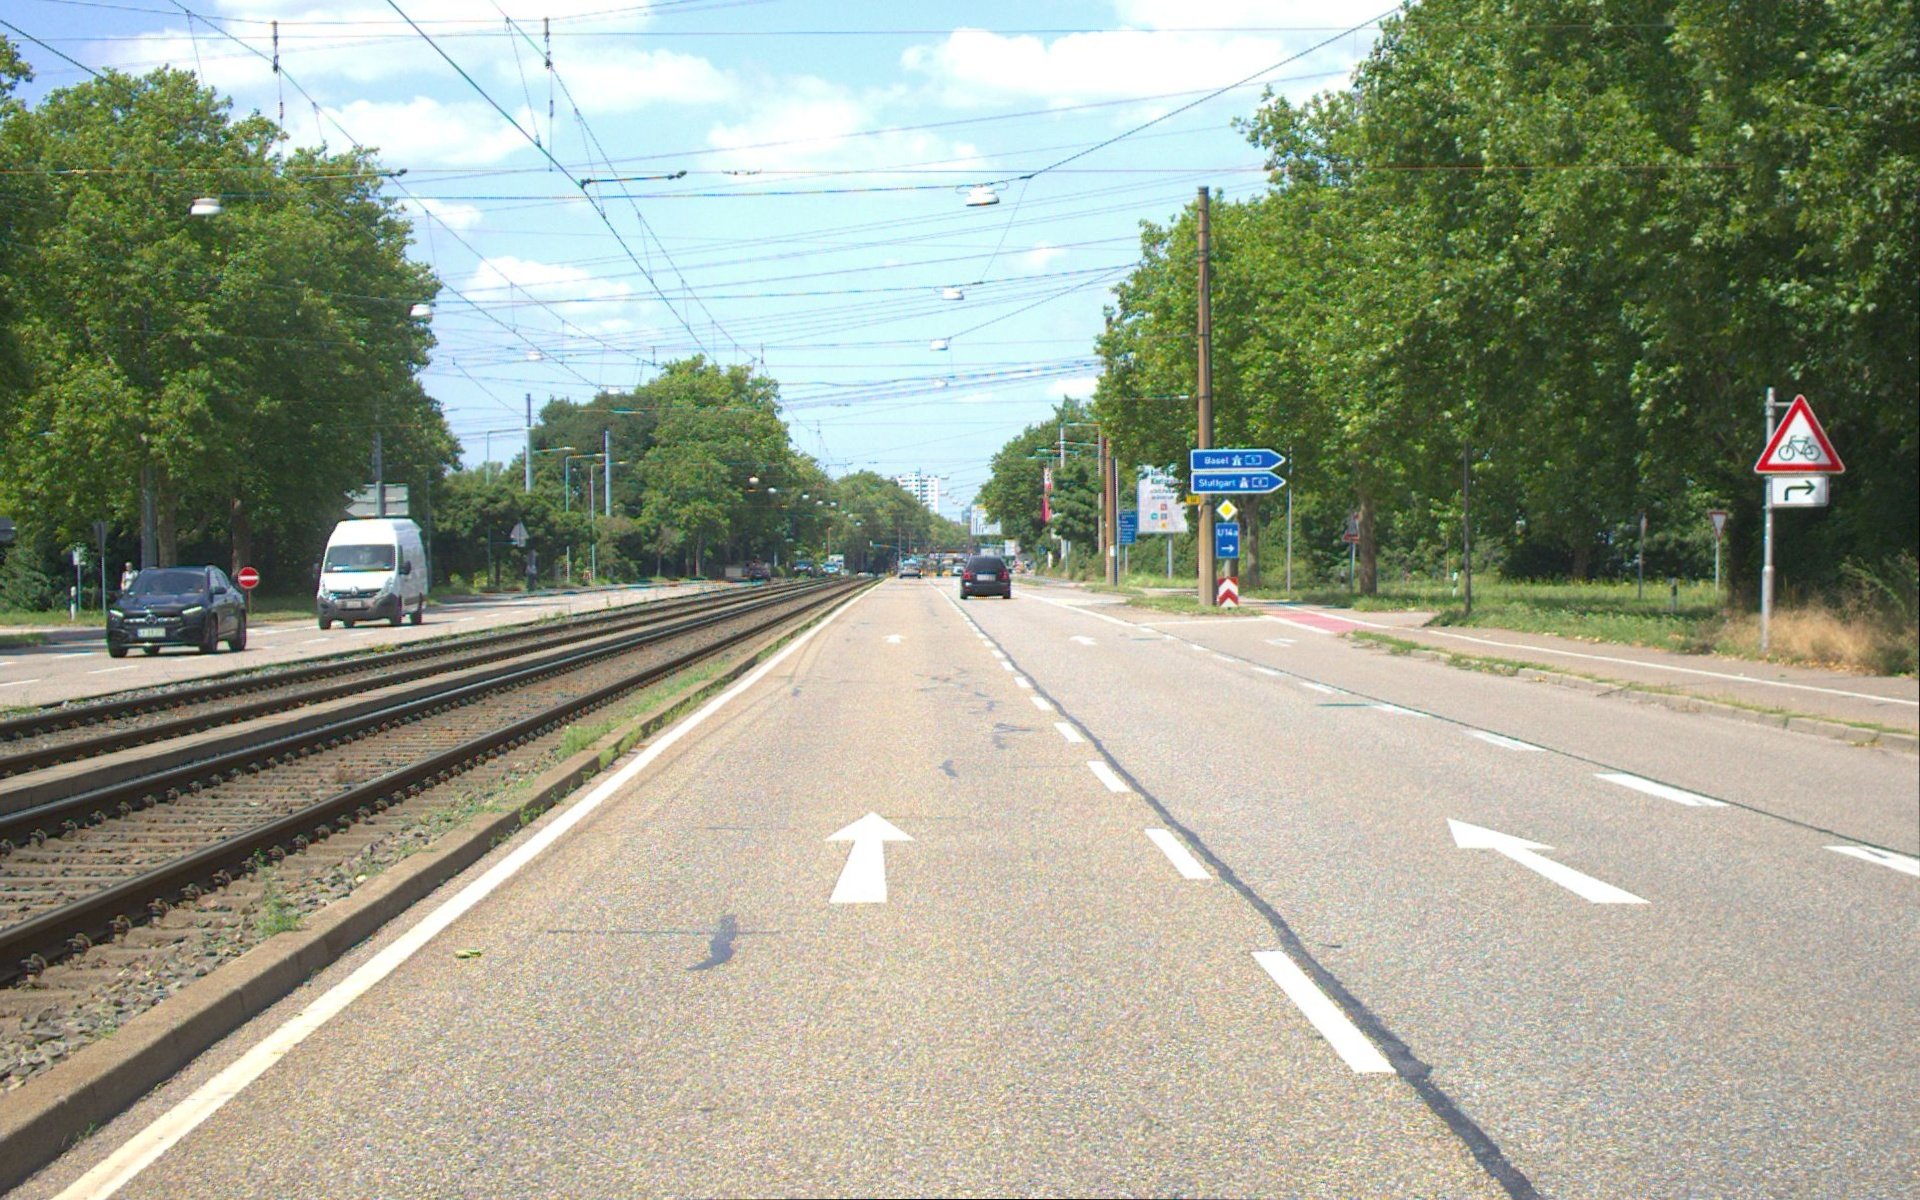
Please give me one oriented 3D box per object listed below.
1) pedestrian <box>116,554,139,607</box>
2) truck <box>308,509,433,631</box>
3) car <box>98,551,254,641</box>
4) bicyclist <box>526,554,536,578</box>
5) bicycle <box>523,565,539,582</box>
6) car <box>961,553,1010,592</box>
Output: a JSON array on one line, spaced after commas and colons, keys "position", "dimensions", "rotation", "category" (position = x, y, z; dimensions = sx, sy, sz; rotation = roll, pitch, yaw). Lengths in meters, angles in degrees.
[{"position": [-24.409, -0.571, 100.834], "dimensions": [0.513, 1.546, 0.704], "rotation": [-2, 1, -6], "category": "pedestrian"}, {"position": [-14.951, -0.795, 87.511], "dimensions": [2.054, 2.929, 6.320], "rotation": [-2, 1, -1], "category": "truck"}, {"position": [-14.123, -0.096, 62.128], "dimensions": [1.817, 1.509, 4.428], "rotation": [-1, 1, -1], "category": "car"}, {"position": [-22.513, -1.787, 180.296], "dimensions": [0.454, 1.268, 0.398], "rotation": [-1, 1, 2], "category": "bicyclist"}, {"position": [-22.493, -1.379, 180.362], "dimensions": [0.515, 0.854, 1.931], "rotation": [-2, 1, 2], "category": "bicycle"}, {"position": [0.910, -1.005, 124.078], "dimensions": [1.586, 1.338, 3.273], "rotation": [-1, 2, -2], "category": "car"}]
